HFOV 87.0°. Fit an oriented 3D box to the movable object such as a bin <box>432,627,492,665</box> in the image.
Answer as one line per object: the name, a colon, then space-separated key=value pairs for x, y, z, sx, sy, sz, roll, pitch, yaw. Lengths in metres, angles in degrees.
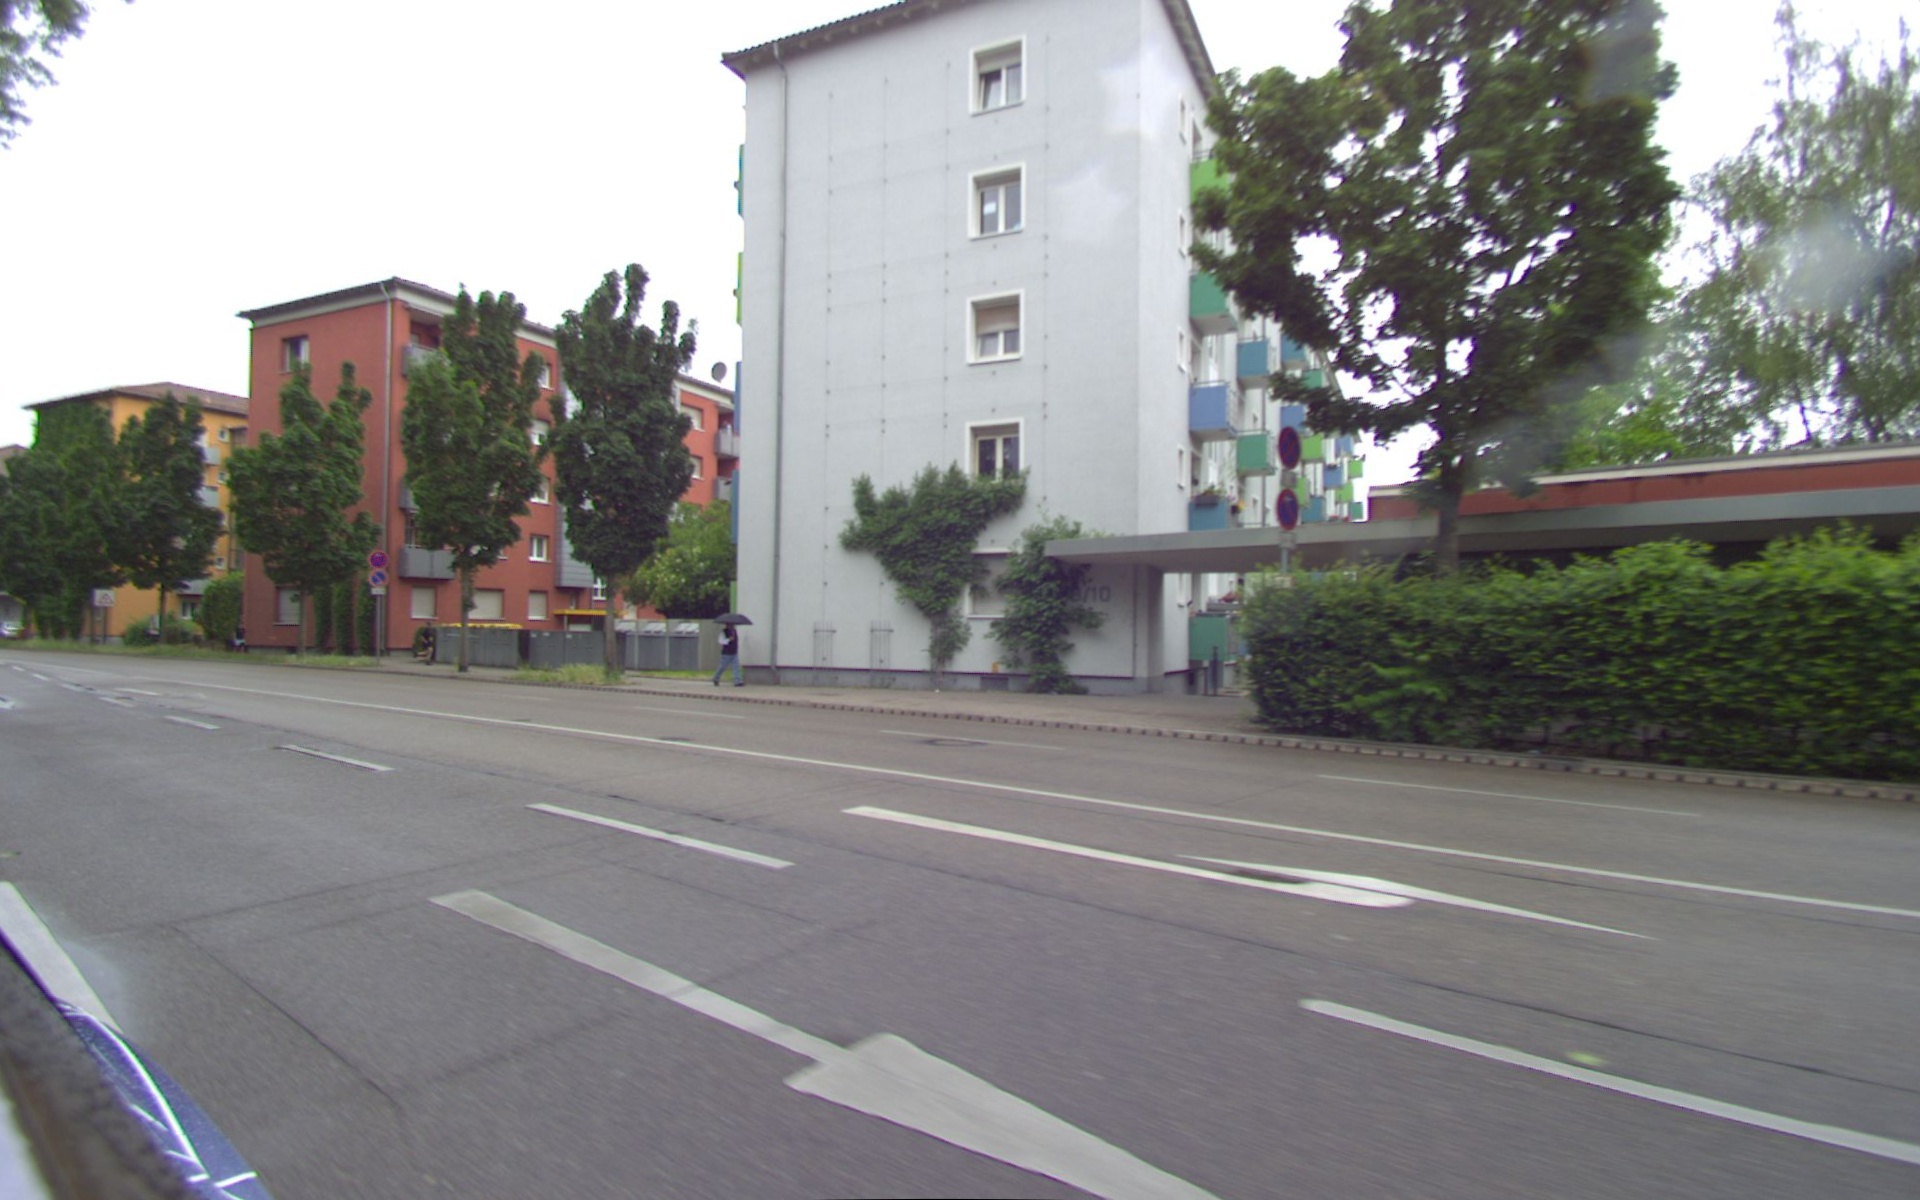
movable object such as a bin: x=-17.981 y=1.661 z=36.517 sx=1.962 sy=1.341 sz=1.147 roll=-1 pitch=-3 yaw=36

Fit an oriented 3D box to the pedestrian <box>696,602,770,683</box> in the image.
pedestrian: x=-5.259 y=0.976 z=23.433 sx=1.261 sy=1.818 sz=1.123 roll=-2 pitch=-3 yaw=38

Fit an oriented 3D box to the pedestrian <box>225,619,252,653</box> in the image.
pedestrian: x=-31.491 y=1.585 z=44.166 sx=0.833 sy=1.460 sz=0.666 roll=-1 pitch=-3 yaw=32

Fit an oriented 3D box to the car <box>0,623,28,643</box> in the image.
car: x=-75.476 y=2.593 z=79.837 sx=4.213 sy=1.537 sz=1.717 roll=-1 pitch=-3 yaw=31

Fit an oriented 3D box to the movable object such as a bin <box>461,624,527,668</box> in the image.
movable object such as a bin: x=-16.221 y=1.594 z=35.242 sx=2.083 sy=1.496 sz=1.204 roll=-1 pitch=-3 yaw=36

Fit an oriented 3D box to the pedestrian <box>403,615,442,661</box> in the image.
pedestrian: x=-18.059 y=1.285 z=33.983 sx=1.066 sy=1.529 sz=0.687 roll=-1 pitch=-3 yaw=32
